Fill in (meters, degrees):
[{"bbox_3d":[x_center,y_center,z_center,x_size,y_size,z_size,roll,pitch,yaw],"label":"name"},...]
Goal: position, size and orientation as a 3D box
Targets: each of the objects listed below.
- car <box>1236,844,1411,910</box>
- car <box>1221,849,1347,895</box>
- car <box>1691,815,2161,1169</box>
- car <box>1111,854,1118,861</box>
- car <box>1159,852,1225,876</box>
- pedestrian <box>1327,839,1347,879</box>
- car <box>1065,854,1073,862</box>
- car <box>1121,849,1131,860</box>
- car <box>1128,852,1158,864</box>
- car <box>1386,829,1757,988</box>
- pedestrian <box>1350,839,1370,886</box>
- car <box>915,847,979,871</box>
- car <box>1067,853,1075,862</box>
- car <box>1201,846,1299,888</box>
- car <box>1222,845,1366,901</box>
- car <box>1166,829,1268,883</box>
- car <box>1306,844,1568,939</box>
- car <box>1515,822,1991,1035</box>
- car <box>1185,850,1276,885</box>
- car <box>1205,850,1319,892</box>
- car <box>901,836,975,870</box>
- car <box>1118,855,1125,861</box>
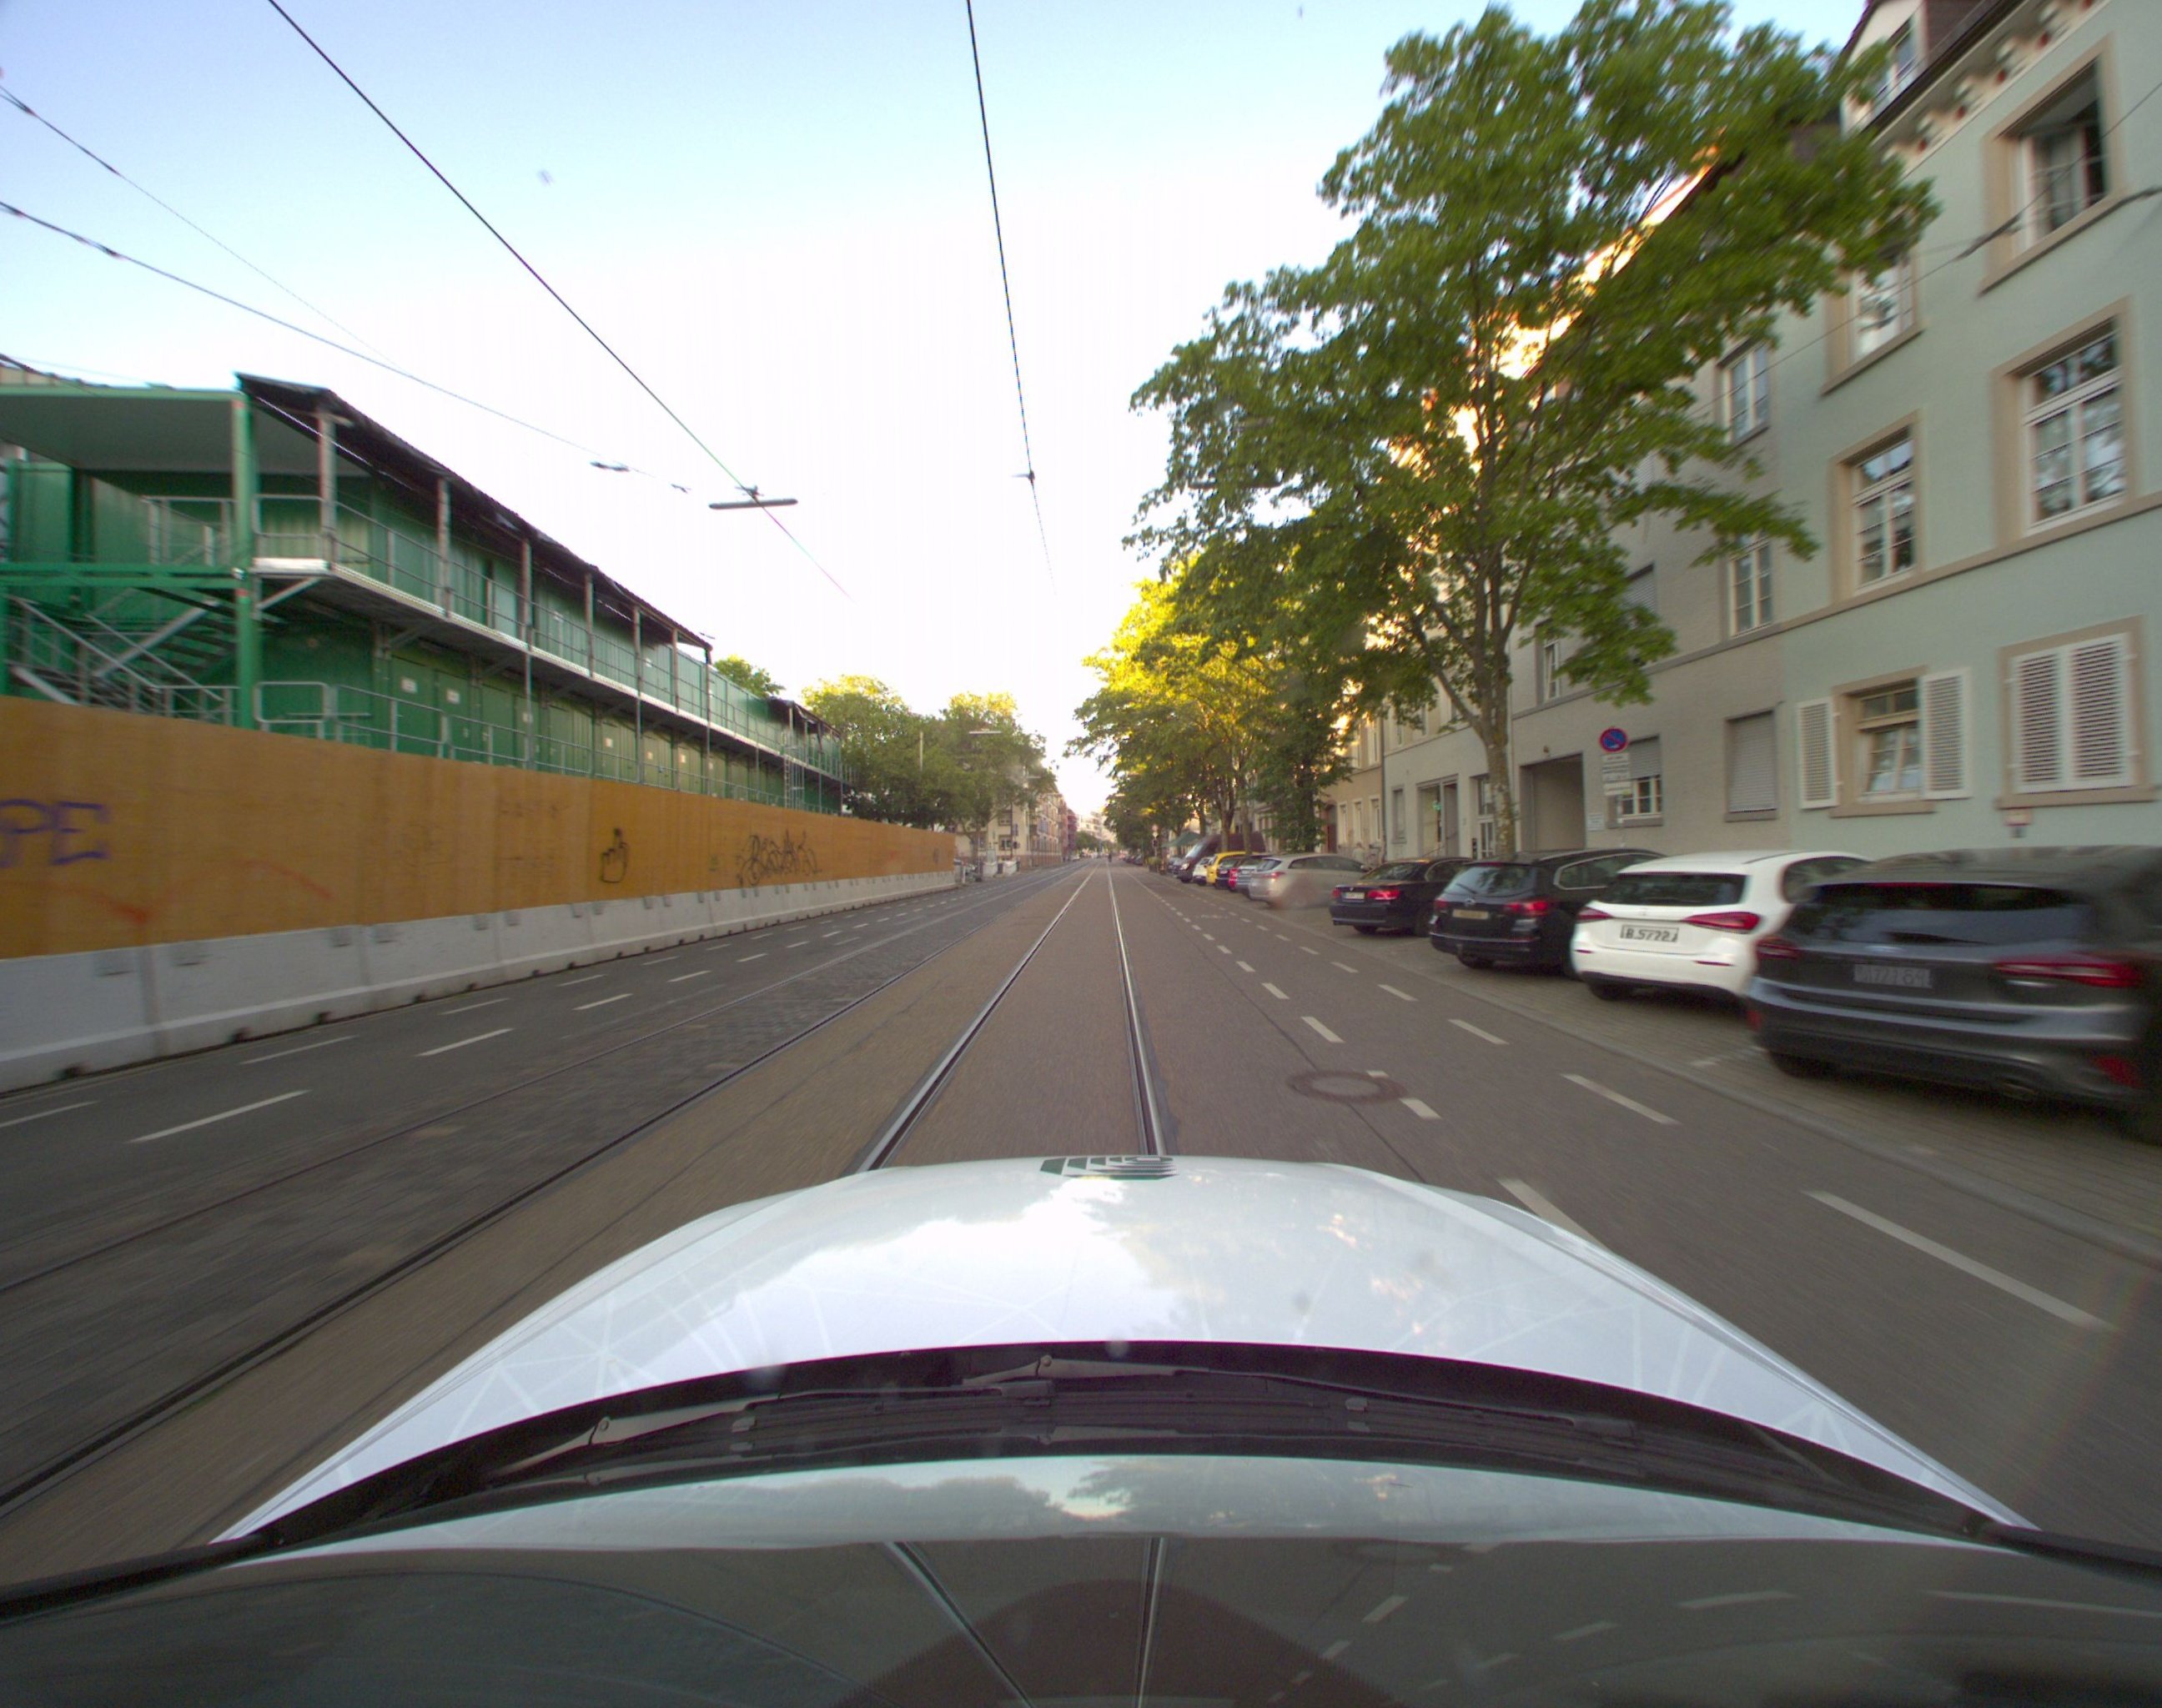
[{"bbox_3d":[6.753,0.618,22.939,4.250,1.549,2.013,-3,0,-9],"label":"car"},{"bbox_3d":[7.423,0.644,29.816,4.140,1.425,1.883,-3,-1,-24],"label":"car"},{"bbox_3d":[6.308,0.582,5.405,4.136,1.470,1.809,-4,0,-25],"label":"car"},{"bbox_3d":[9.592,0.963,232.154,1.891,2.013,4.002,0,0,2],"label":"car"},{"bbox_3d":[7.885,0.701,57.987,4.193,1.498,1.993,-2,-1,-23],"label":"car"},{"bbox_3d":[10.236,0.204,32.601,0.536,1.568,0.814,-1,0,3],"label":"pedestrian"},{"bbox_3d":[-3.151,1.011,212.920,1.891,2.013,4.002,0,0,2],"label":"car"},{"bbox_3d":[8.383,0.044,152.859,1.798,2.013,4.002,0,0,2],"label":"car"},{"bbox_3d":[8.173,0.544,107.409,3.872,1.592,1.862,0,0,2],"label":"car"},{"bbox_3d":[6.284,0.582,10.471,4.134,1.470,2.000,-4,0,-23],"label":"car"},{"bbox_3d":[10.946,0.314,31.943,0.563,1.814,0.607,-1,0,1],"label":"pedestrian"},{"bbox_3d":[-11.486,0.444,70.104,5.001,1.945,2.231,1,0,6],"label":"car"},{"bbox_3d":[-2.742,0.899,217.560,1.891,2.178,4.002,0,0,2],"label":"car"},{"bbox_3d":[7.488,0.588,36.372,3.935,1.619,1.922,-3,-1,2],"label":"car"},{"bbox_3d":[7.040,0.616,26.907,4.267,1.560,1.884,-3,-1,-22],"label":"car"},{"bbox_3d":[7.485,0.095,44.876,5.105,2.642,2.011,-3,-1,-16],"label":"car"},{"bbox_3d":[6.576,0.625,15.078,4.268,1.392,2.001,-3,0,-22],"label":"car"},{"bbox_3d":[6.740,0.581,8.204,4.134,1.470,1.972,-4,0,-23],"label":"car"},{"bbox_3d":[7.363,0.686,40.191,3.967,1.486,1.906,-3,-1,-23],"label":"car"},{"bbox_3d":[7.313,0.685,32.951,4.140,1.425,1.905,-3,-1,-24],"label":"car"},{"bbox_3d":[-11.216,-0.119,64.254,5.384,2.558,2.226,1,0,-1],"label":"car"},{"bbox_3d":[12.050,1.140,243.194,1.956,1.718,4.002,0,0,2],"label":"car"}]
